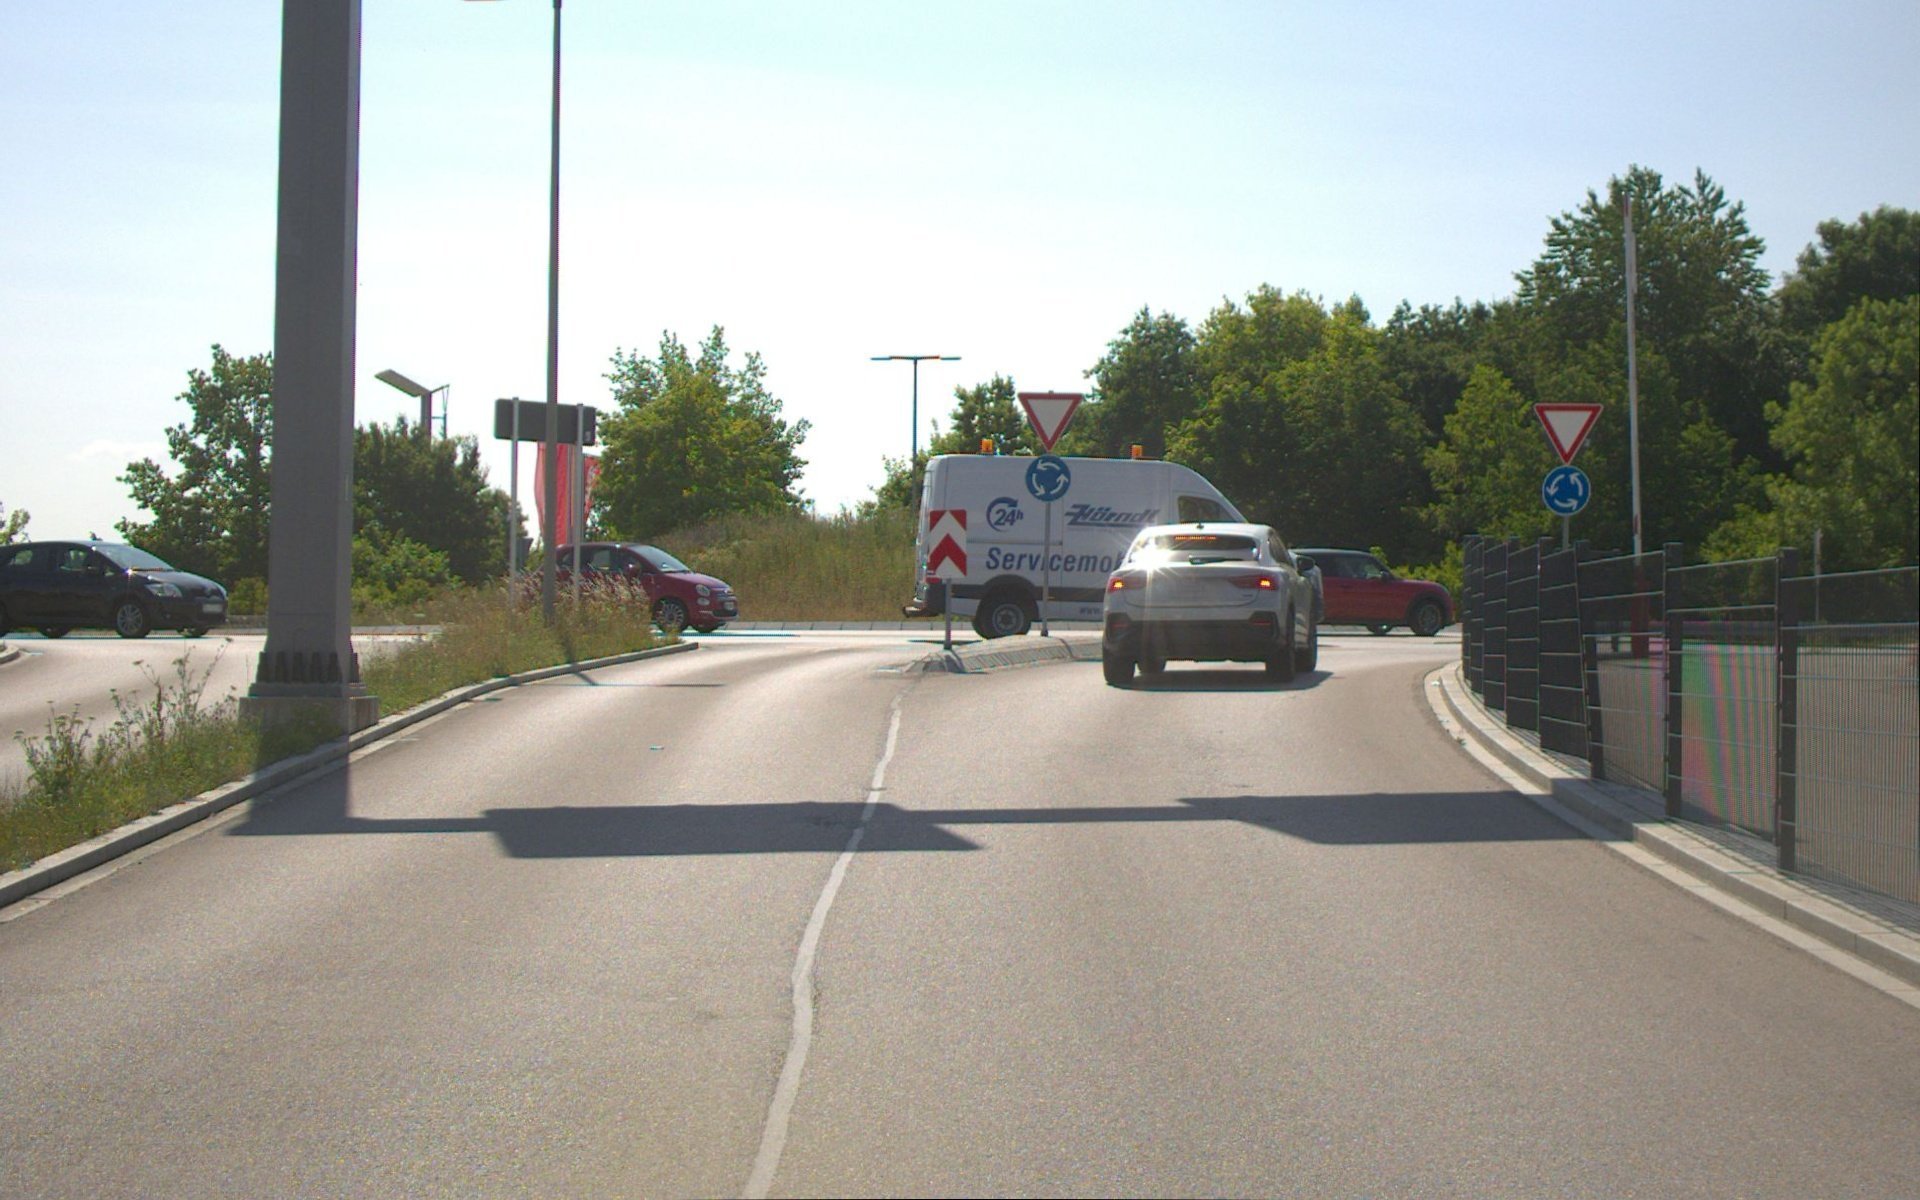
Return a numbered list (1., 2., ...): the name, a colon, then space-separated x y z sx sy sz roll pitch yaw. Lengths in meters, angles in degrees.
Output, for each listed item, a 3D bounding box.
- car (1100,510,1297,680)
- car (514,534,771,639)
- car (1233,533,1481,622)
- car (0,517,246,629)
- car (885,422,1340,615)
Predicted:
1. car: 2.394 -0.065 34.618 1.841 1.590 4.324 0 0 4
2. car: -5.192 -0.231 56.400 3.726 1.612 1.871 1 0 20
3. car: 6.712 -0.377 58.199 3.804 1.400 1.627 1 0 -19
4. car: -13.118 -0.421 52.480 3.949 1.612 1.818 1 0 6
5. car: 2.155 -1.142 49.353 6.171 2.545 2.091 1 0 -9
